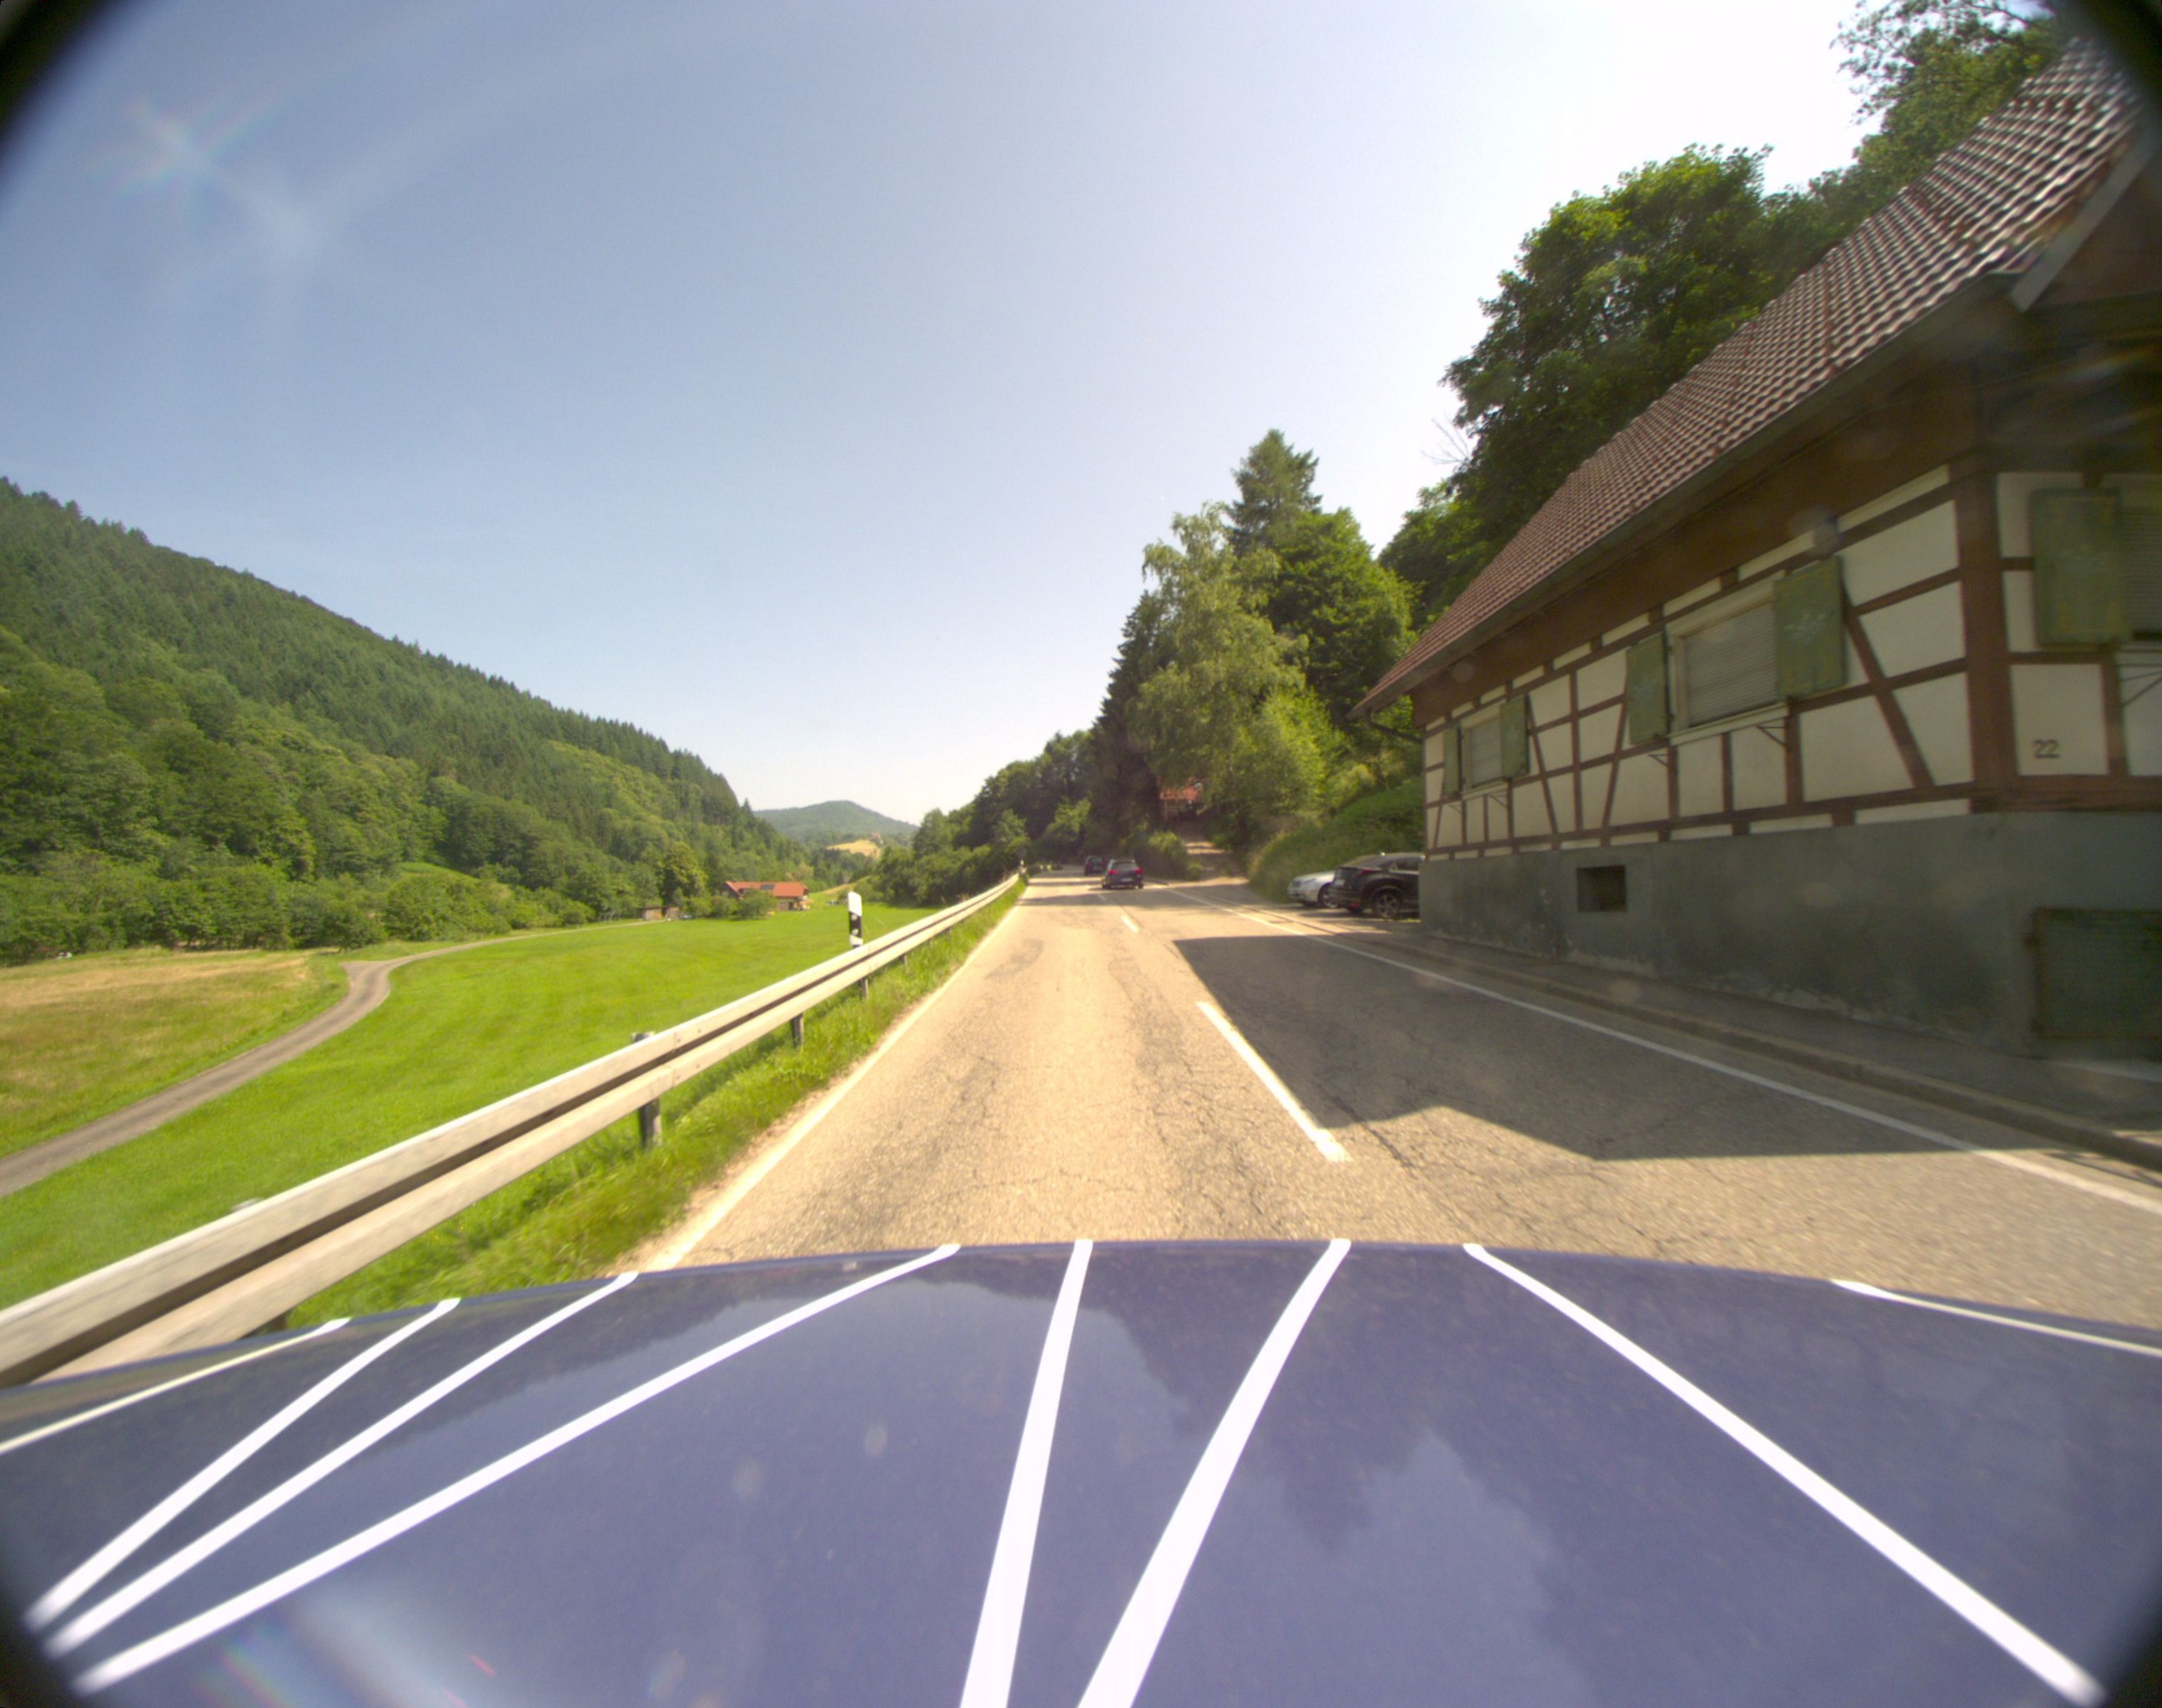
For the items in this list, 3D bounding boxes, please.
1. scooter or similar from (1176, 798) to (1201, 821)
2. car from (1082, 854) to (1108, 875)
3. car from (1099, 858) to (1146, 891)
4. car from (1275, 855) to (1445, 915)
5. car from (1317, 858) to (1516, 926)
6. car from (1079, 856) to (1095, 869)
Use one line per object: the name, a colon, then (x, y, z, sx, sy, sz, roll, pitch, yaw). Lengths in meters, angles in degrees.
scooter or similar: (10.956, -4.515, 77.865, 1.982, 2.015, 4.405, -5, 0, 3)
car: (1.173, 0.864, 64.116, 1.894, 1.635, 4.256, -2, 1, -2)
car: (1.934, 0.953, 36.843, 1.770, 1.388, 4.143, -2, 0, -3)
car: (7.389, 0.791, 20.363, 3.827, 1.408, 1.856, -2, 1, -4)
car: (7.727, 0.845, 17.751, 3.827, 1.425, 1.862, 0, 1, -4)
car: (0.759, 0.968, 92.432, 1.782, 1.429, 3.999, -1, 1, -2)
